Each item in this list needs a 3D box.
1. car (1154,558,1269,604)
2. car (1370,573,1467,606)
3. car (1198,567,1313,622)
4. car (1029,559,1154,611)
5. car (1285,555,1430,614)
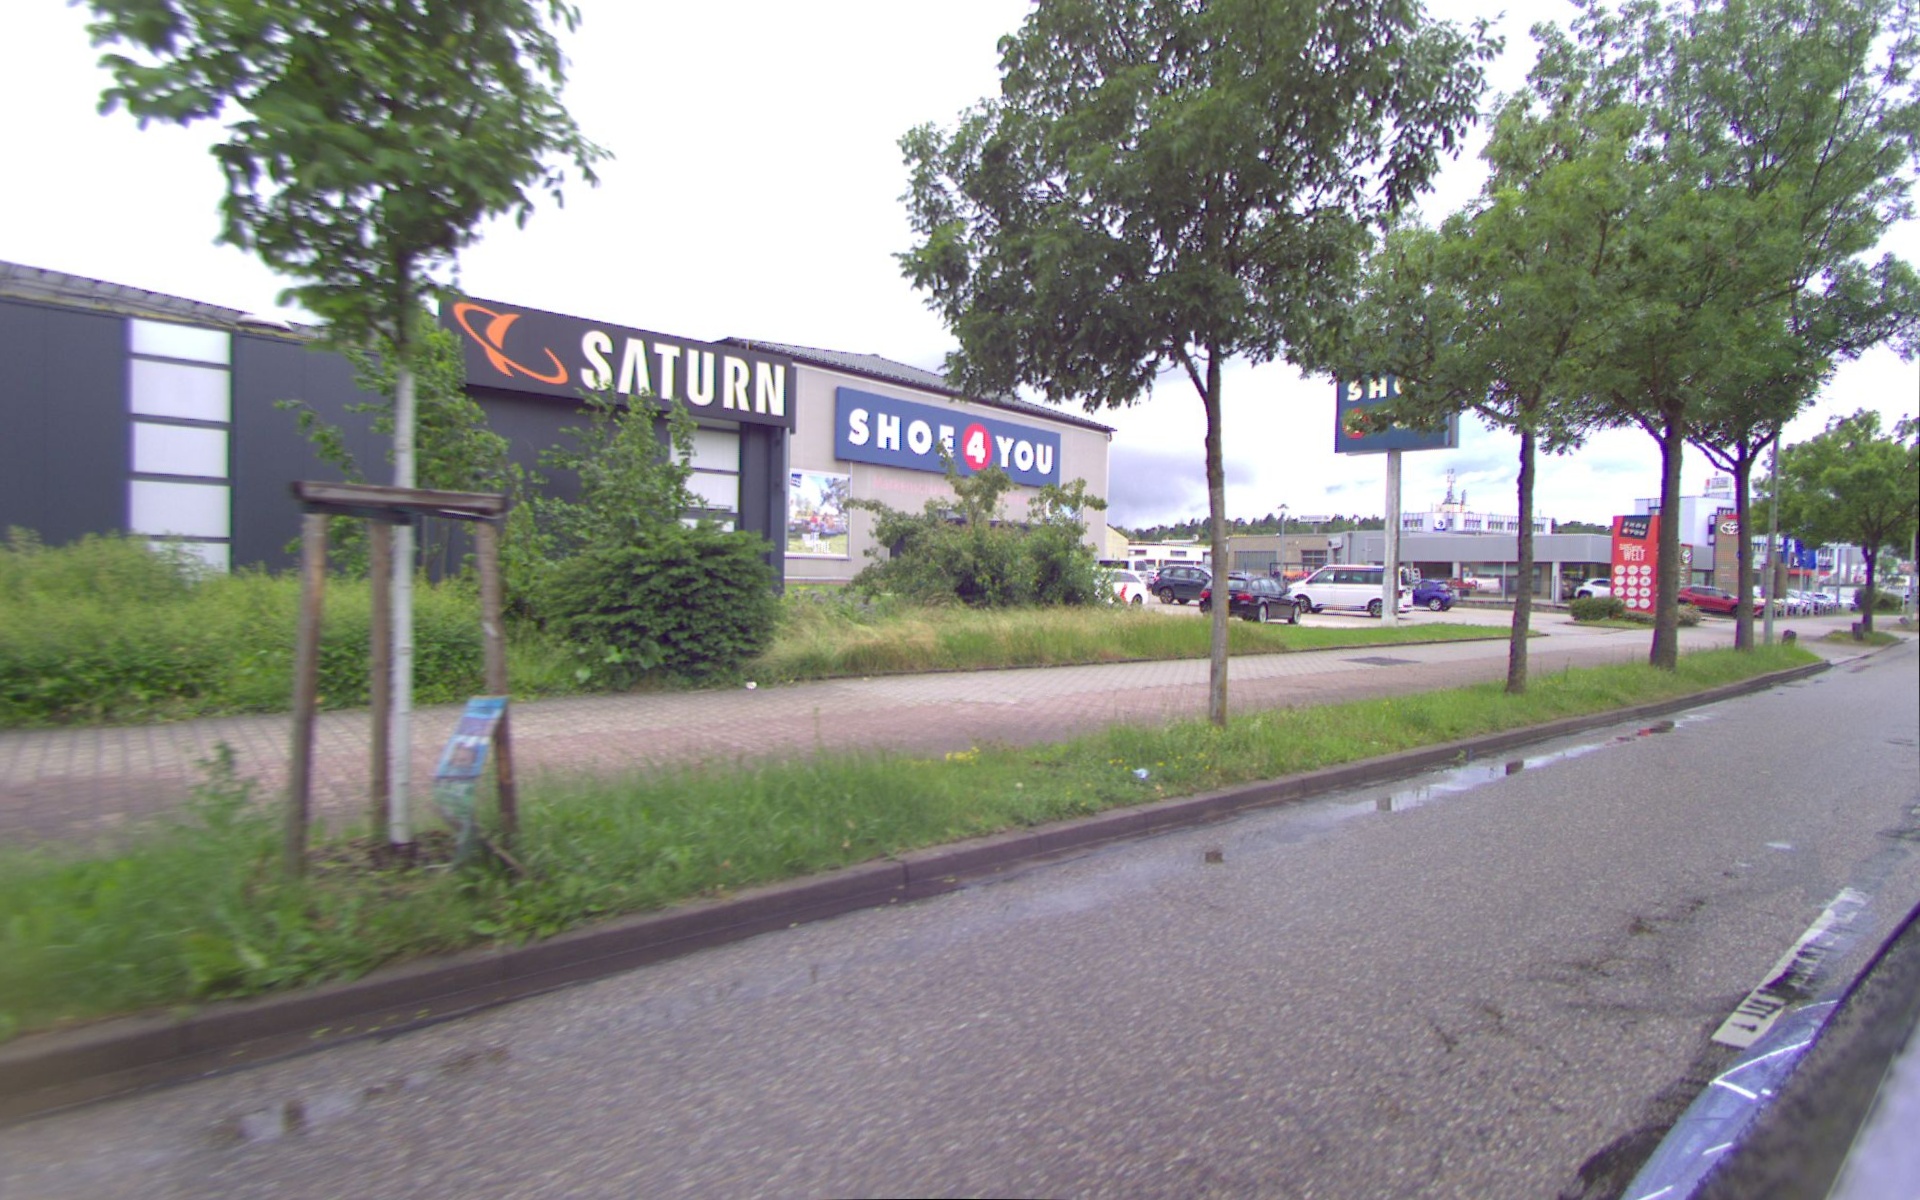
[{"bbox_3d":[10.930,-0.864,44.125,4.434,1.784,1.972,4,3,40],"label":"car"},{"bbox_3d":[22.218,-0.542,49.137,3.980,1.415,1.653,4,2,38],"label":"car"},{"bbox_3d":[8.739,-0.196,29.739,1.747,1.430,4.078,4,3,39],"label":"car"},{"bbox_3d":[4.261,-0.470,32.300,1.896,1.567,4.462,0,1,40],"label":"car"},{"bbox_3d":[15.654,-0.655,39.960,4.939,2.038,1.973,4,3,38],"label":"car"}]
